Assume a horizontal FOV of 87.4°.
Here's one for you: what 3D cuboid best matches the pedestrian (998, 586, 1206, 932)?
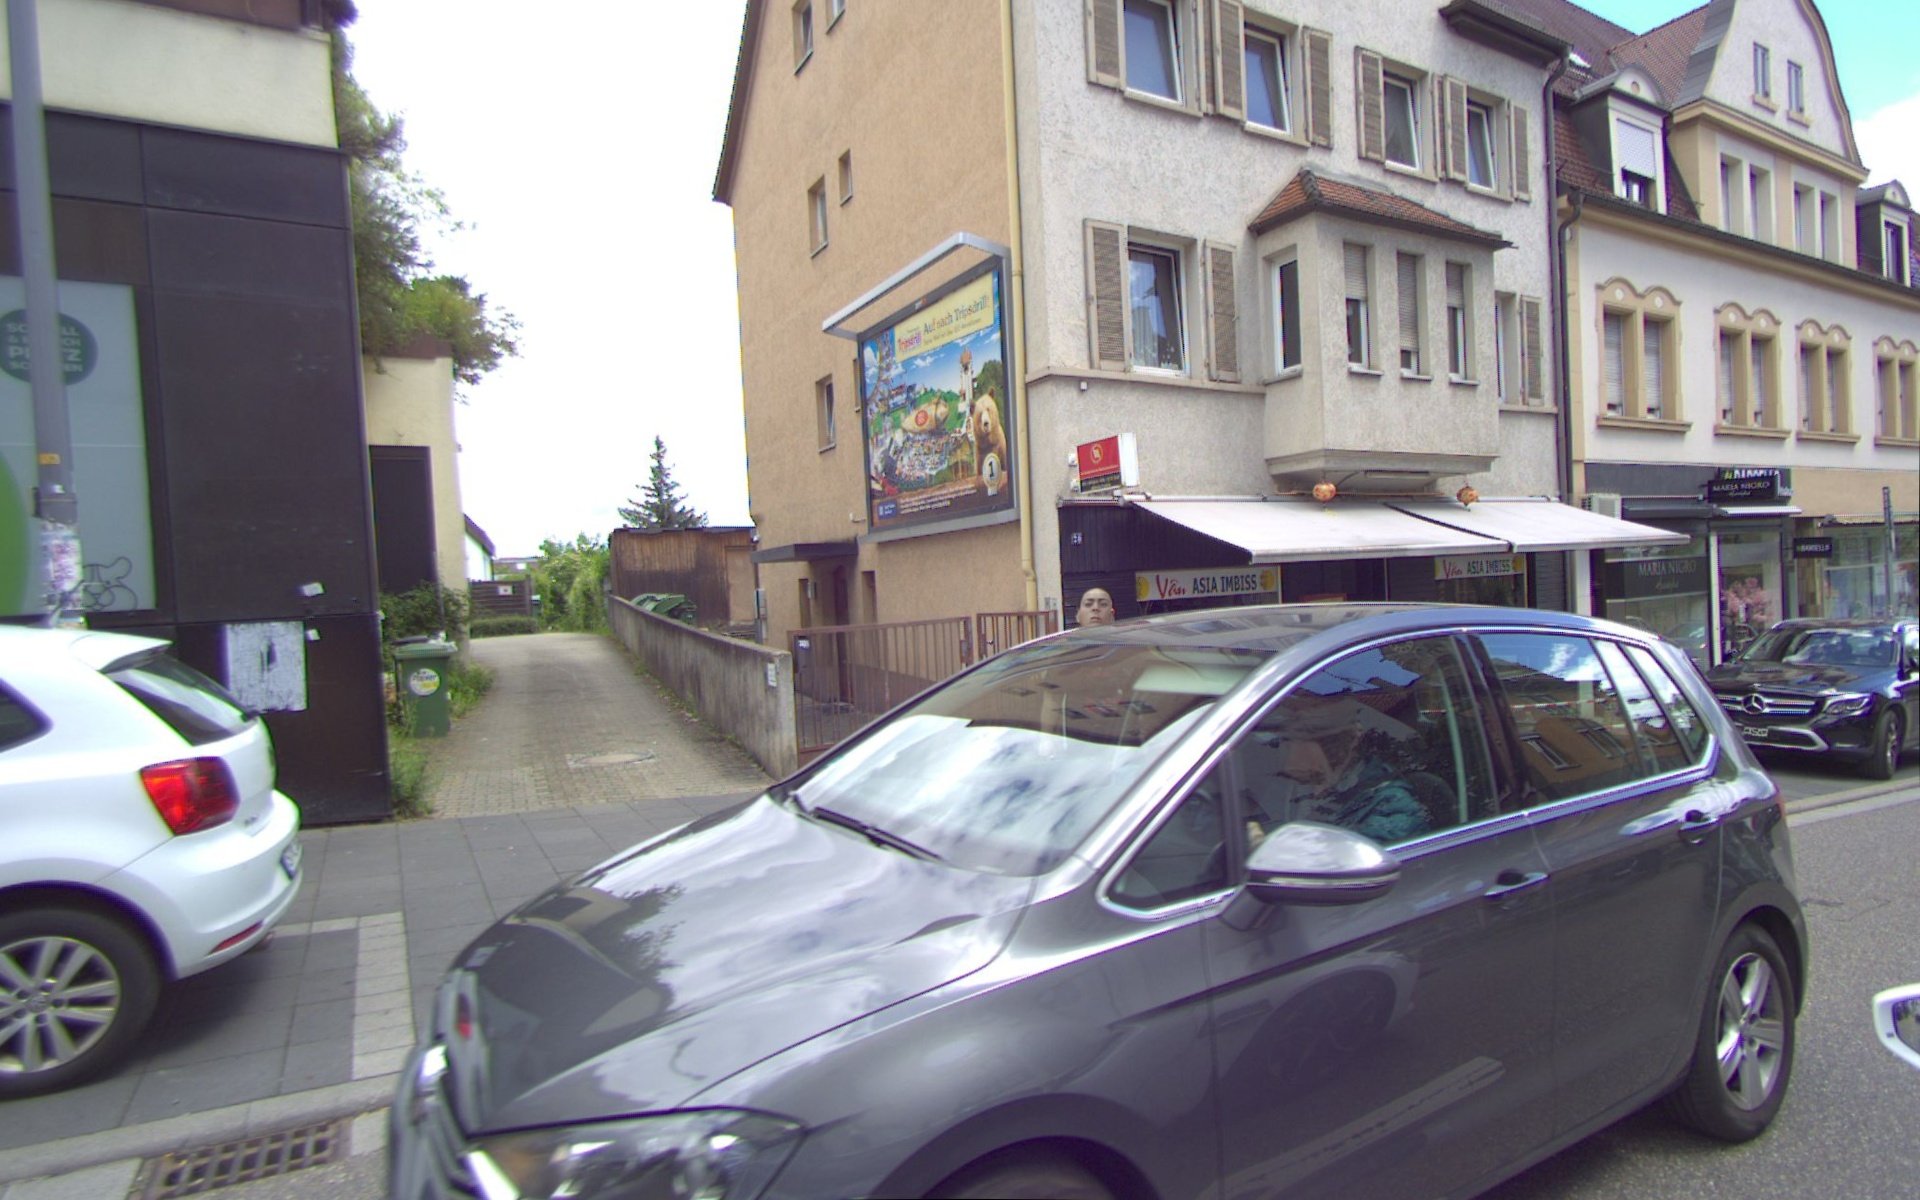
[{"bbox_3d":[0.767,0.785,5.478,0.854,1.694,0.733,0,0,-33],"label":"pedestrian"}]

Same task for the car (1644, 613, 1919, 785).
[{"bbox_3d":[10.244,0.999,11.835,4.587,1.643,1.916,1,0,-32],"label":"car"}]

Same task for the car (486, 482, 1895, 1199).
[{"bbox_3d":[0.892,0.740,3.072,4.089,1.639,1.810,1,-3,-31],"label":"car"}]

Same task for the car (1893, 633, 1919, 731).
[{"bbox_3d":[16.662,1.259,15.691,4.211,1.449,1.918,0,0,-30],"label":"car"}]

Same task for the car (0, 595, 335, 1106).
[{"bbox_3d":[-4.505,0.777,3.209,4.214,1.532,1.916,-1,2,-32],"label":"car"}]
